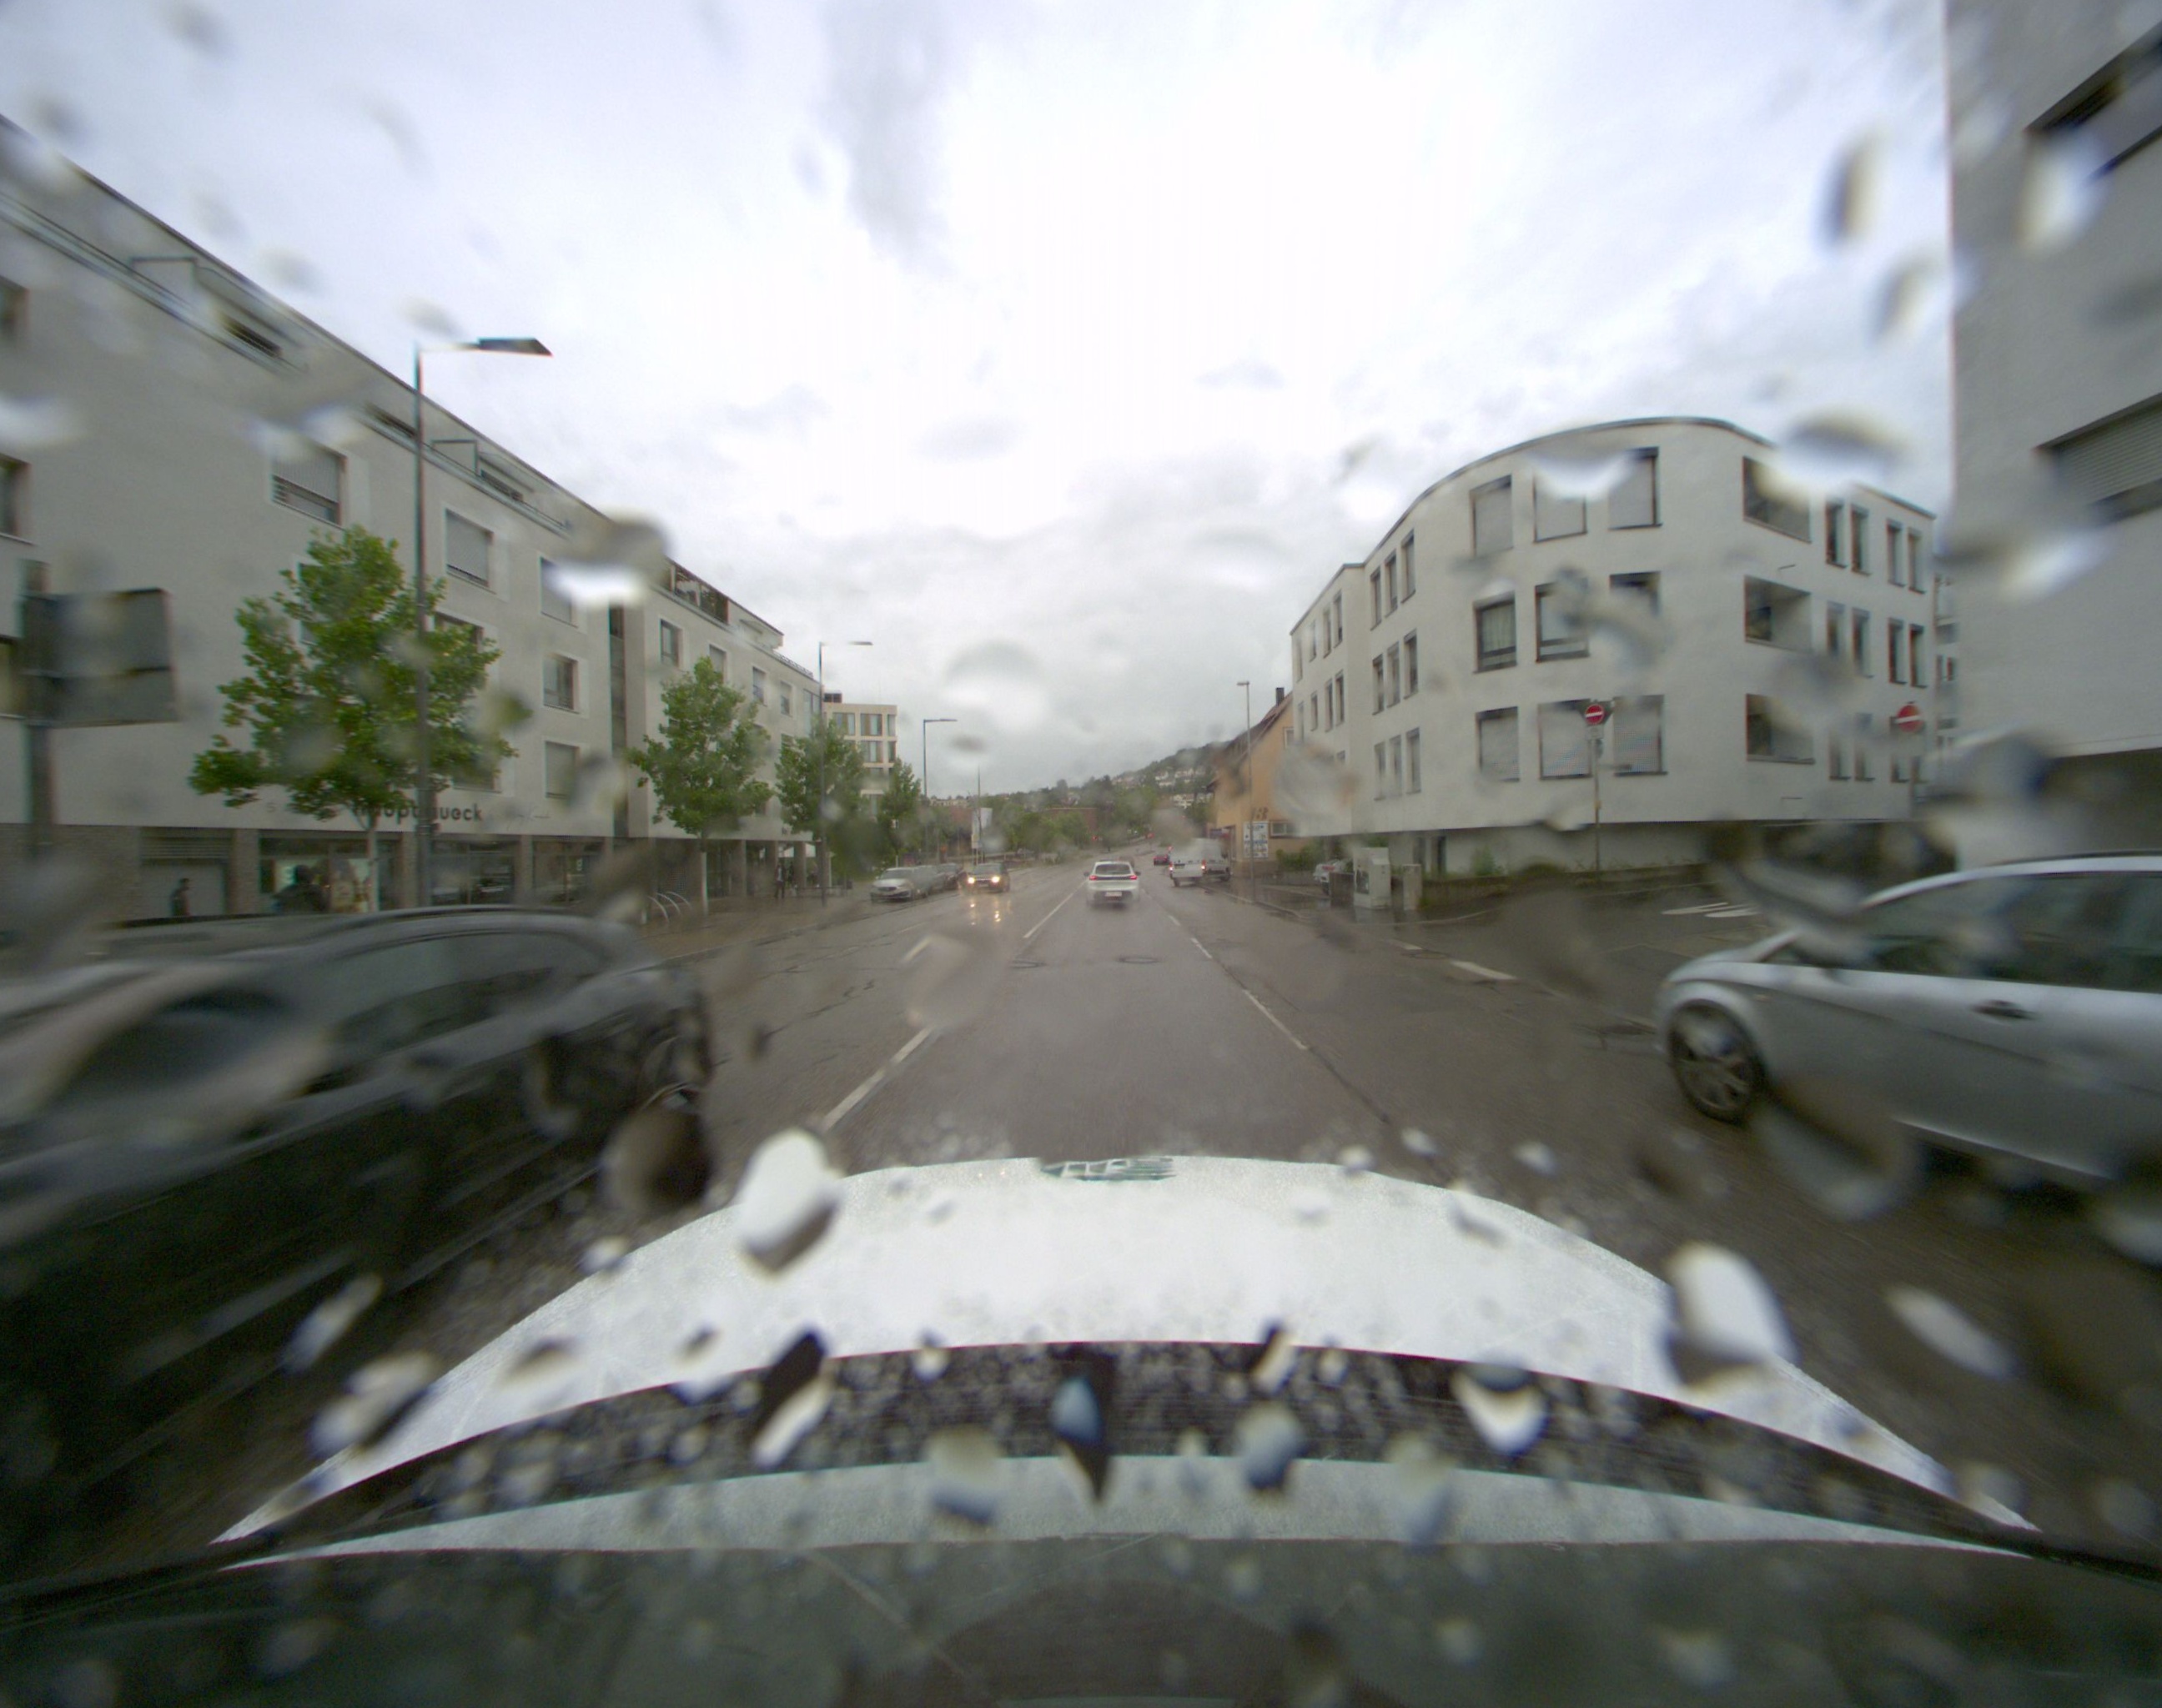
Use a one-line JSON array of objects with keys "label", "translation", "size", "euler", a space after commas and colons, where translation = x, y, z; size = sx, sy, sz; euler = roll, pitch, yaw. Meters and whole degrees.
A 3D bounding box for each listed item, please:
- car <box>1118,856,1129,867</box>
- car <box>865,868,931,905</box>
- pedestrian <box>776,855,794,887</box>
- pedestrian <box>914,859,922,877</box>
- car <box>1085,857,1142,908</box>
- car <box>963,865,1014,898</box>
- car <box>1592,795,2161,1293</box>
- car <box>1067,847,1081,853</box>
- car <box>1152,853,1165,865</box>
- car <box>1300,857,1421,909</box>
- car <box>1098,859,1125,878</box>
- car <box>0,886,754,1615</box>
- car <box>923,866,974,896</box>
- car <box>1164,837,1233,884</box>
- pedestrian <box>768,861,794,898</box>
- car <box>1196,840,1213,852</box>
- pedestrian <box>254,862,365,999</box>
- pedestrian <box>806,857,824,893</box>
[{"label": "car", "translation": [5.067, 0.911, 97.350], "size": [1.208, 1.156, 2.270], "euler": [-2, -2, 1]}, {"label": "car", "translation": [-7.817, 1.384, 35.269], "size": [1.789, 1.463, 4.477], "euler": [-1, -2, 0]}, {"label": "pedestrian", "translation": [-19.092, 1.083, 52.540], "size": [0.848, 2.014, 0.935], "euler": [-2, -2, -5]}, {"label": "pedestrian", "translation": [-16.272, 1.383, 81.266], "size": [0.783, 1.745, 0.671], "euler": [-2, -2, -12]}, {"label": "car", "translation": [1.040, 0.947, 26.796], "size": [1.685, 1.519, 3.933], "euler": [-2, -2, 1]}, {"label": "car", "translation": [-4.641, 1.398, 41.265], "size": [1.873, 1.524, 4.186], "euler": [-2, -2, 2]}, {"label": "car", "translation": [4.518, 0.640, 3.379], "size": [2.005, 1.622, 4.359], "euler": [-1, -3, 0]}, {"label": "car", "translation": [-1.459, -0.845, 171.013], "size": [2.430, 1.157, 1.359], "euler": [-1, -2, -25]}, {"label": "car", "translation": [10.195, 0.608, 107.219], "size": [1.726, 1.387, 3.357], "euler": [0, 3, 4]}, {"label": "car", "translation": [10.323, 1.056, 30.266], "size": [3.778, 1.530, 1.820], "euler": [5, 0, 1]}, {"label": "car", "translation": [2.249, 1.041, 59.939], "size": [1.733, 1.296, 3.339], "euler": [-2, -1, 5]}, {"label": "car", "translation": [-3.023, 0.878, 2.887], "size": [1.761, 1.414, 4.526], "euler": [-2, -2, 1]}, {"label": "car", "translation": [-7.273, 1.471, 45.160], "size": [1.683, 1.510, 4.583], "euler": [-2, -2, 5]}, {"label": "car", "translation": [6.754, 0.406, 46.071], "size": [2.271, 2.382, 6.659], "euler": [-3, -2, 21]}, {"label": "pedestrian", "translation": [-14.513, 1.241, 39.381], "size": [0.806, 1.738, 1.003], "euler": [-2, -2, 1]}, {"label": "car", "translation": [16.963, -1.075, 111.811], "size": [1.718, 1.497, 4.498], "euler": [-3, 0, 14]}, {"label": "pedestrian", "translation": [-10.683, 1.029, 11.307], "size": [0.803, 1.788, 0.876], "euler": [-1, -2, -18]}, {"label": "pedestrian", "translation": [-16.115, 1.282, 49.259], "size": [0.743, 2.145, 0.773], "euler": [-1, -2, 9]}]
